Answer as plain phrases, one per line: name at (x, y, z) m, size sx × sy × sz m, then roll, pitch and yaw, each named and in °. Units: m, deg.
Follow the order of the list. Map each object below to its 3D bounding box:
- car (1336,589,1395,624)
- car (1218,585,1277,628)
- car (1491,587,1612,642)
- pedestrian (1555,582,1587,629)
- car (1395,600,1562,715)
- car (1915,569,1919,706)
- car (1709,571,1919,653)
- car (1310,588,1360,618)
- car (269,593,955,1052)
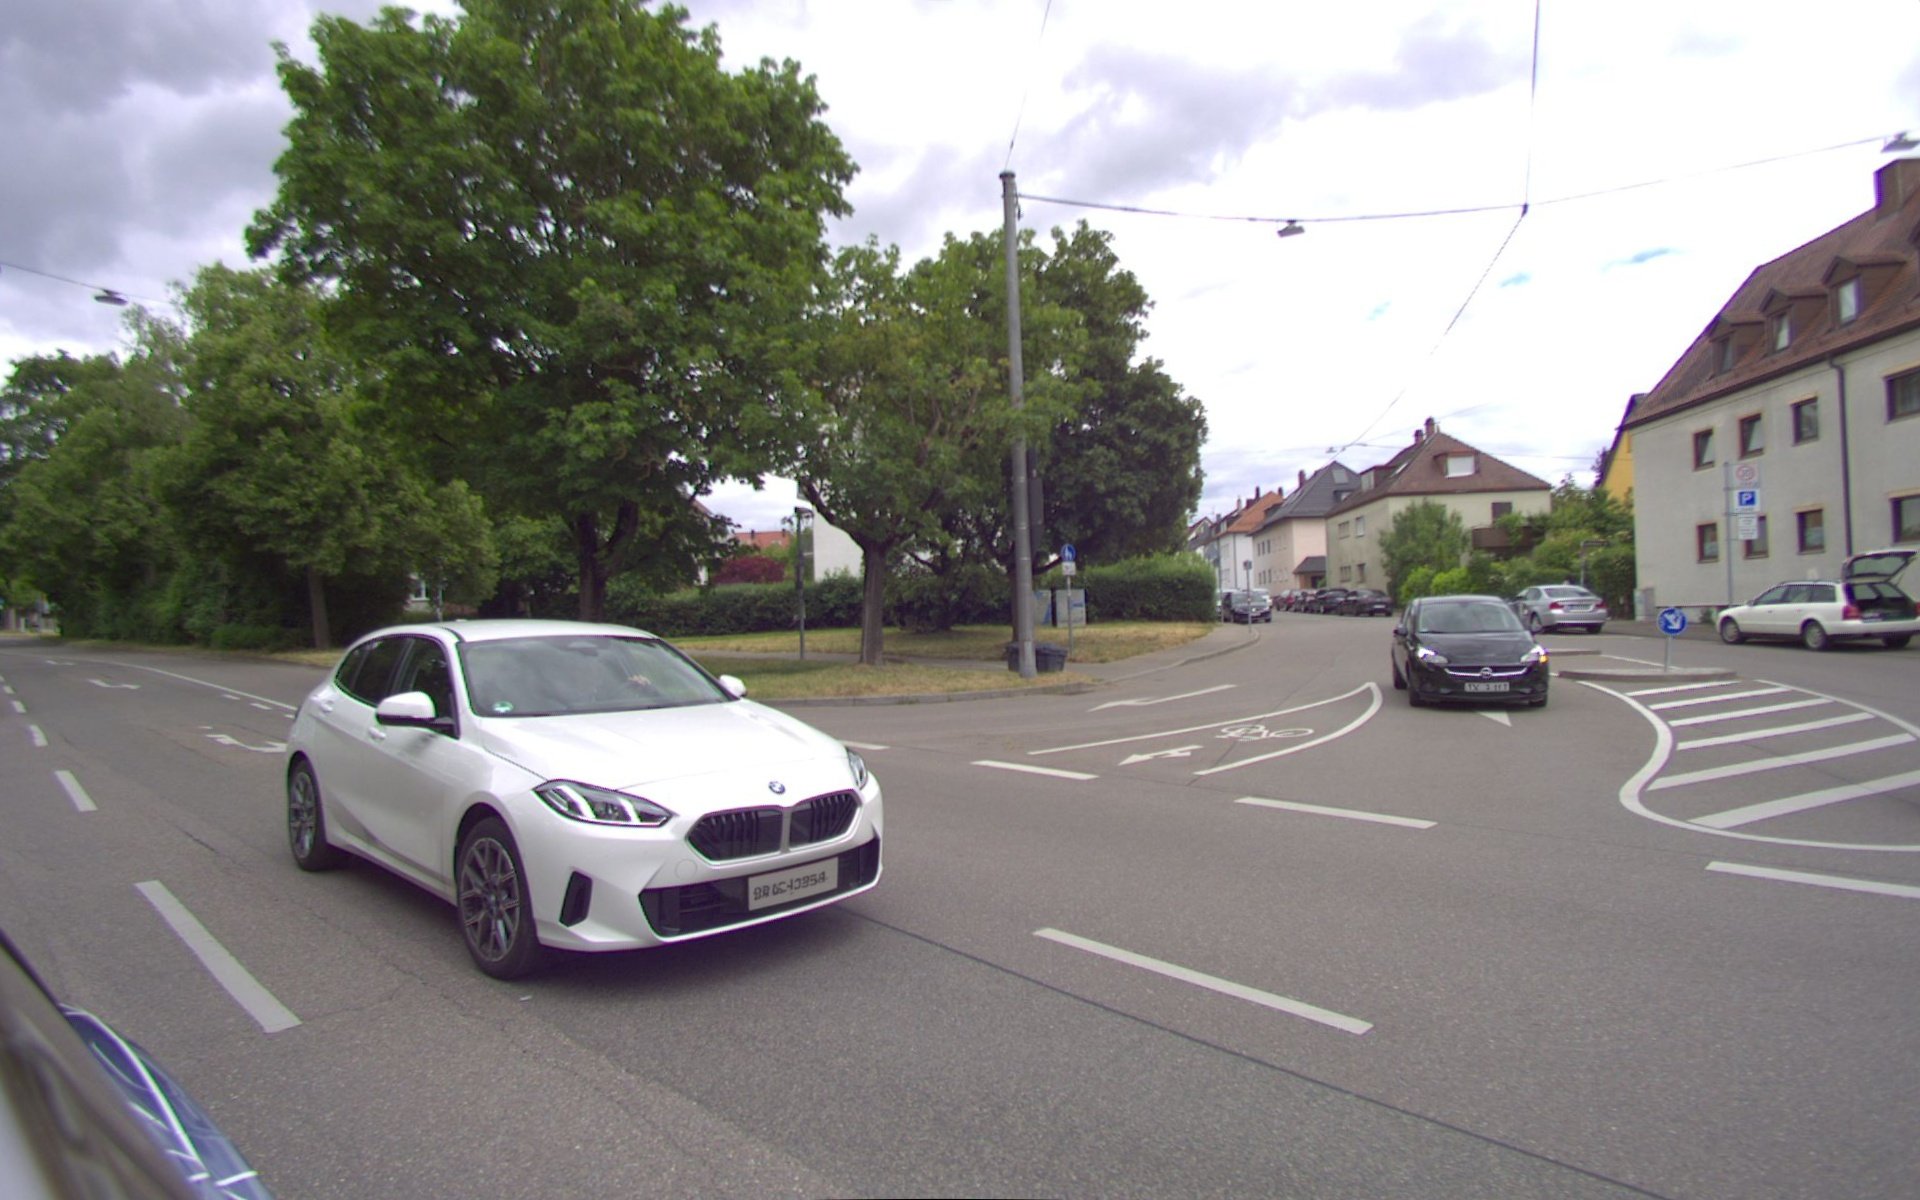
car at (20.499, 0.298, 51.298) m, size 1.782 × 1.546 × 3.880 m, roll -3°, pitch 1°, yaw 8°
car at (13.294, 0.259, 46.999) m, size 1.759 × 1.763 × 3.995 m, roll -3°, pitch 1°, yaw 5°
car at (17.811, 0.399, 30.702) m, size 1.664 × 1.545 × 4.224 m, roll 0°, pitch 1°, yaw 8°
pedestrian at (22.371, 0.197, 37.063) m, size 0.674 × 1.645 × 0.779 m, roll -3°, pitch 1°, yaw 10°
car at (7.291, 0.743, 14.589) m, size 1.632 × 1.346 × 3.972 m, roll -3°, pitch -1°, yaw 21°
car at (8.479, 0.540, 6.587) m, size 3.931 × 1.586 × 1.935 m, roll -1°, pitch -1°, yaw -25°
car at (17.962, 0.179, 21.075) m, size 1.700 × 1.450 × 4.311 m, roll -3°, pitch 1°, yaw 5°
car at (21.164, 0.143, 57.274) m, size 1.782 × 1.546 × 3.880 m, roll -3°, pitch 1°, yaw 8°
car at (-2.157, 0.777, 5.485) m, size 4.207 × 1.529 × 1.776 m, roll -1°, pitch -1°, yaw 43°
